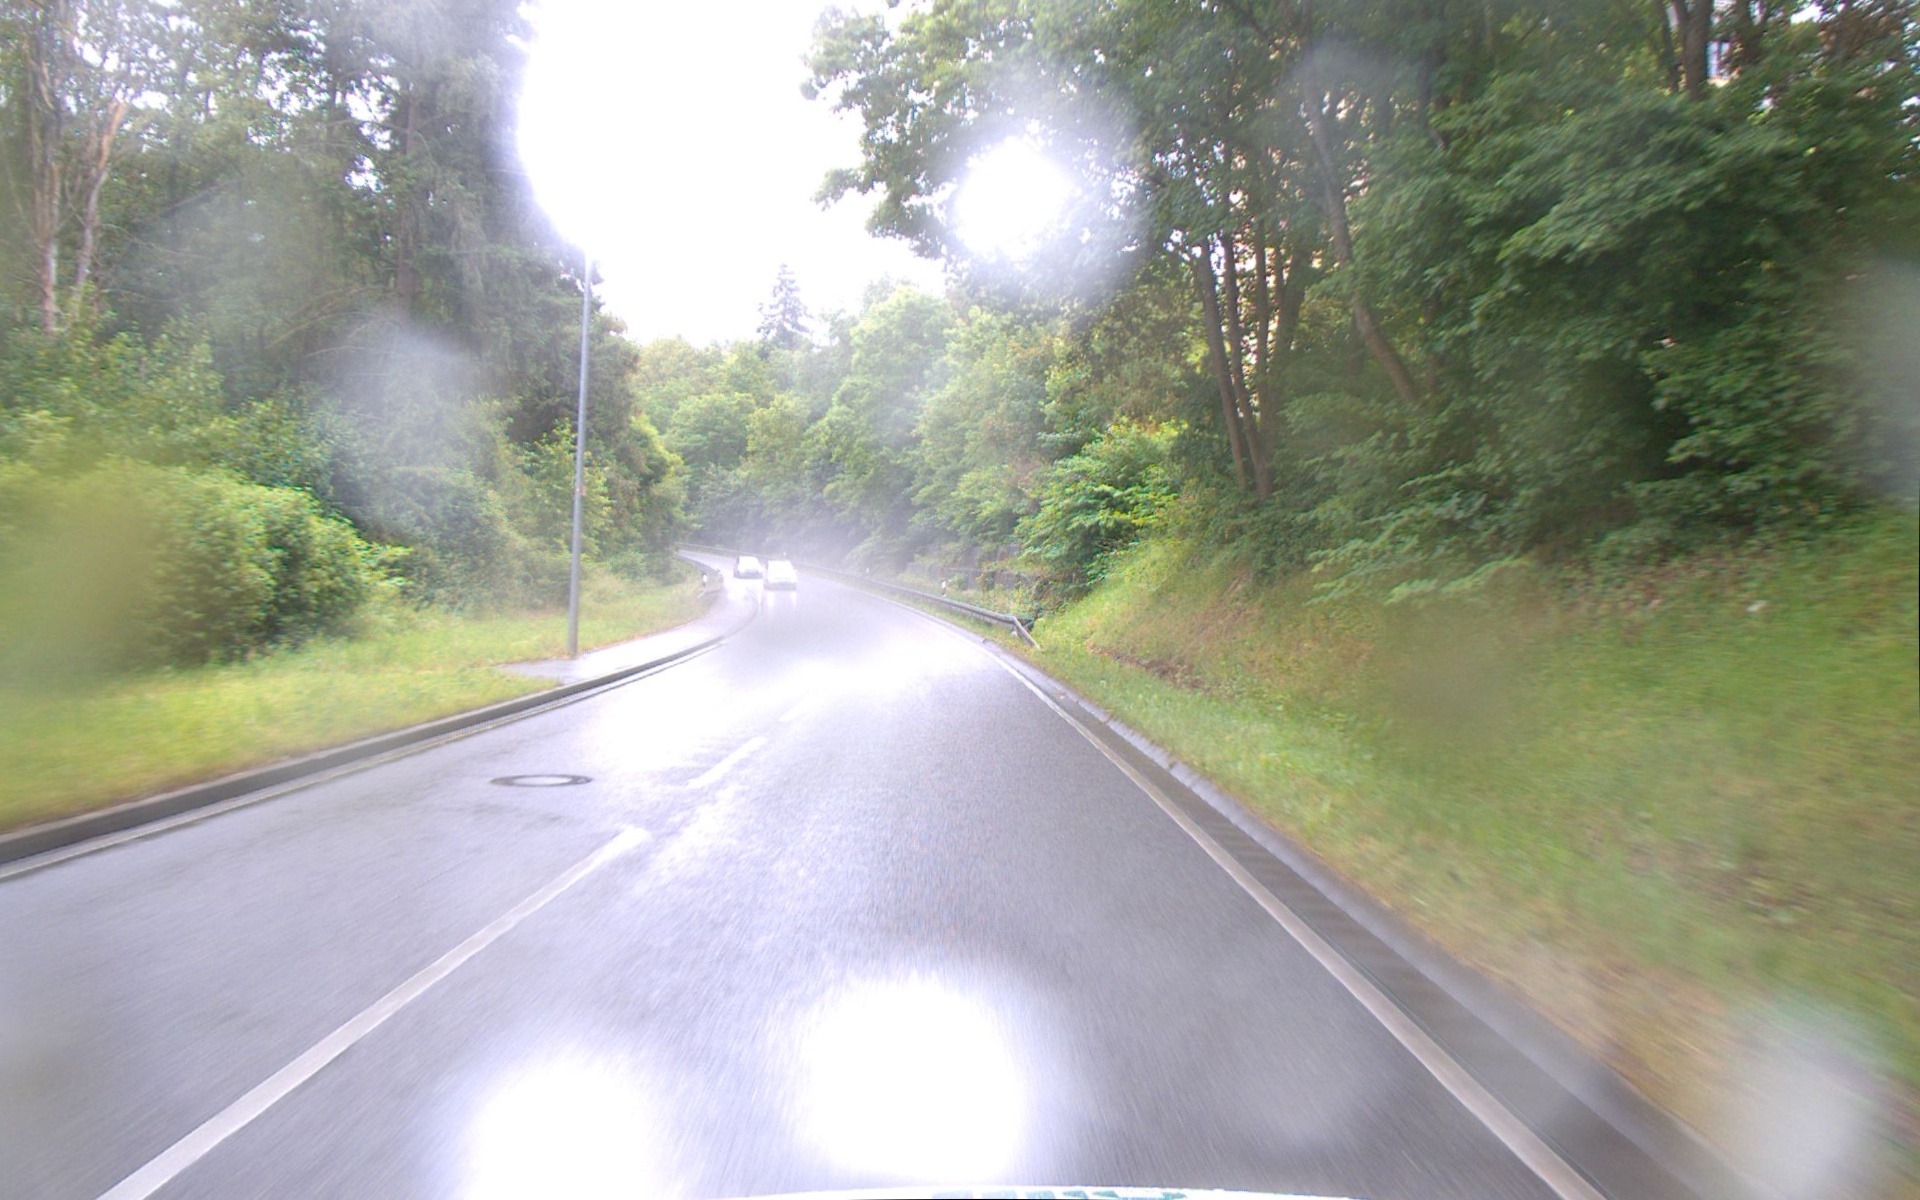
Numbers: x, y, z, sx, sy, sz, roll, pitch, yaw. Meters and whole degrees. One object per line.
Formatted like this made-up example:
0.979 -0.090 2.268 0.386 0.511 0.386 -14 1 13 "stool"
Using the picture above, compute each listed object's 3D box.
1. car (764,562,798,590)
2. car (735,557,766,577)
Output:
-10.780 -1.434 99.413 1.781 1.676 4.121 0 1 -11 "car"
-15.018 -2.357 118.463 1.784 1.459 3.985 0 1 -14 "car"
